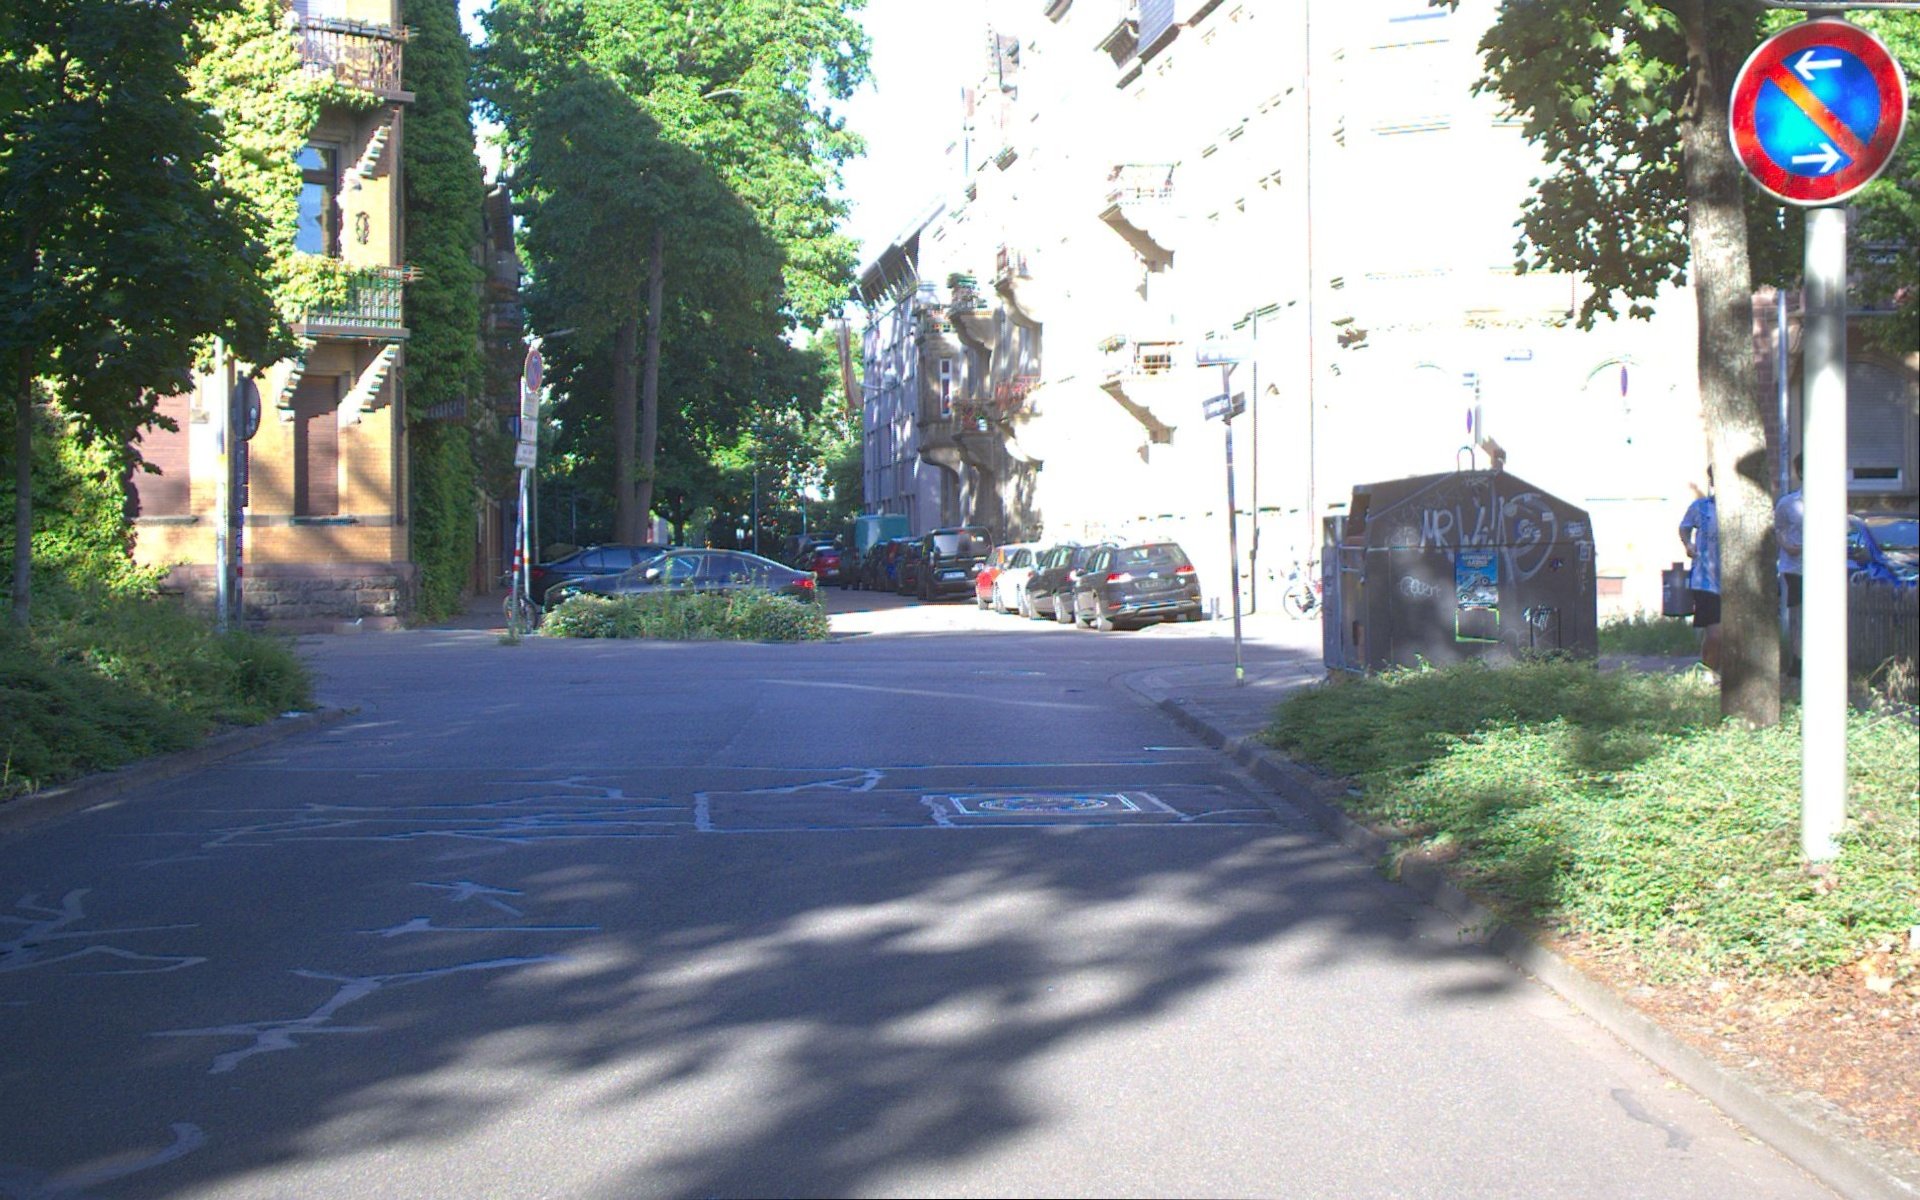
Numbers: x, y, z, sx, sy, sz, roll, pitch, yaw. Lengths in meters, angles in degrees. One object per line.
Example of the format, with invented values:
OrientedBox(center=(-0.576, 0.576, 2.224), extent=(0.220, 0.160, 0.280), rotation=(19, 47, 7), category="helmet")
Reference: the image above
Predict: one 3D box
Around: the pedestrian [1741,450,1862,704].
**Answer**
OrientedBox(center=(6.402, -0.180, 26.185), extent=(0.642, 1.887, 1.018), rotation=(1, 1, -1), category="pedestrian")

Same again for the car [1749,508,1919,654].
OrientedBox(center=(10.647, -0.172, 38.764), extent=(1.993, 1.550, 4.001), rotation=(1, -1, -10), category="car")

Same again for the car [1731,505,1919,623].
OrientedBox(center=(13.438, -0.519, 49.360), extent=(4.243, 1.616, 1.736), rotation=(1, 2, -10), category="car")

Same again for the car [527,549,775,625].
OrientedBox(center=(-6.163, -0.266, 68.353), extent=(4.833, 1.430, 1.710), rotation=(1, 1, -8), category="car")

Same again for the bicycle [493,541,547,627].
OrientedBox(center=(-6.632, -0.245, 51.872), extent=(0.563, 1.264, 1.603), rotation=(-1, 1, 1), category="bicycle")

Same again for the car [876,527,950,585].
OrientedBox(center=(-1.422, -1.297, 101.780), extent=(1.802, 1.673, 4.001), rotation=(1, 1, -6), category="car")

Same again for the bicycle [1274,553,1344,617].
OrientedBox(center=(5.543, -0.244, 54.692), extent=(0.514, 0.994, 1.576), rotation=(0, 1, -18), category="bicycle")

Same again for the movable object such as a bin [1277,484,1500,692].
OrientedBox(center=(3.511, -0.105, 28.363), extent=(1.586, 1.652, 1.640), rotation=(1, 1, -1), category="movable object such as a bin")

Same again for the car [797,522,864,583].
OrientedBox(center=(-4.886, -1.773, 129.027), extent=(2.165, 2.229, 4.792), rotation=(1, 1, -6), category="car")

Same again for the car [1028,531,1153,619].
OrientedBox(center=(2.407, -0.482, 64.221), extent=(1.737, 1.576, 4.001), rotation=(1, 1, -6), category="car")

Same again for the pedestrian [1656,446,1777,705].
OrientedBox(center=(5.630, -0.185, 25.629), extent=(0.673, 1.887, 0.895), rotation=(1, 1, -1), category="pedestrian")

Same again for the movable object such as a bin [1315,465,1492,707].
OrientedBox(center=(3.429, -0.116, 26.709), extent=(1.147, 1.821, 1.386), rotation=(1, 1, -1), category="movable object such as a bin")

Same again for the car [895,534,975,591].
OrientedBox(center=(-0.710, -1.047, 95.075), extent=(1.802, 1.509, 4.001), rotation=(1, 1, -6), category="car")

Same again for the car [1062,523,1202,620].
OrientedBox(center=(2.882, -0.497, 58.235), extent=(1.737, 1.576, 4.001), rotation=(1, 1, -6), category="car")

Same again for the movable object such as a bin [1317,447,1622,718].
OrientedBox(center=(3.596, -0.130, 24.460), extent=(1.920, 1.847, 1.393), rotation=(1, 1, -1), category="movable object such as a bin")

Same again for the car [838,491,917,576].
OrientedBox(center=(-2.721, -2.143, 112.004), extent=(2.165, 2.681, 4.792), rotation=(1, 1, -6), category="car")

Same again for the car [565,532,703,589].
OrientedBox(center=(-9.282, -1.117, 97.761), extent=(3.800, 1.570, 1.710), rotation=(1, 1, -8), category="car")

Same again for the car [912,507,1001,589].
OrientedBox(center=(-0.122, -1.318, 86.622), extent=(1.802, 1.997, 4.001), rotation=(1, 1, -6), category="car")

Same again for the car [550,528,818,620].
OrientedBox(center=(-4.520, -0.421, 55.998), extent=(4.242, 1.430, 2.000), rotation=(1, 1, -8), category="car")

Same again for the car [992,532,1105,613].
OrientedBox(center=(1.763, -0.561, 69.717), extent=(1.737, 1.576, 4.001), rotation=(1, 1, -6), category="car")
